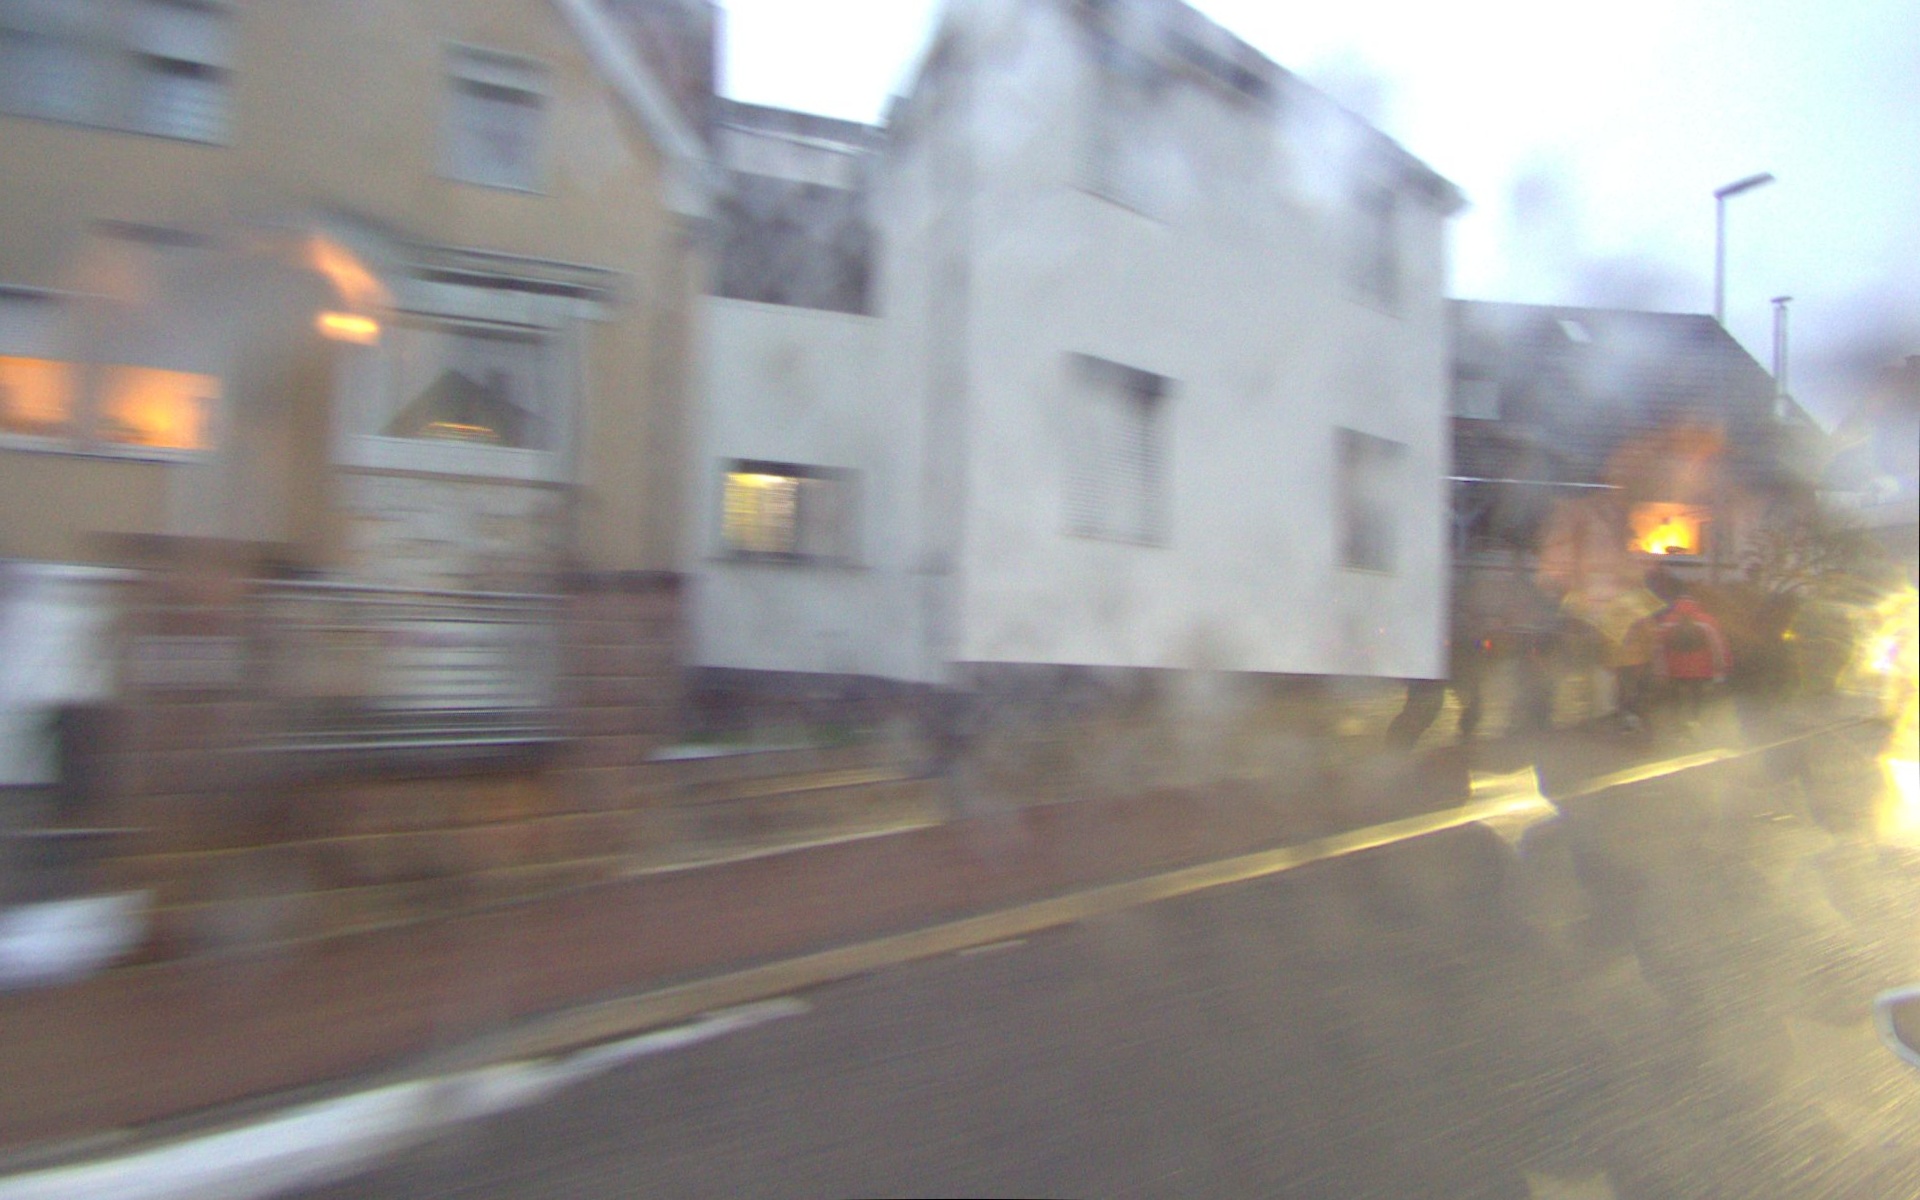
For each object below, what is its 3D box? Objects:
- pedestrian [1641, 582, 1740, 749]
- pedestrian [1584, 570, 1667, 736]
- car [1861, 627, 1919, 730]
[{"bbox_3d":[8.285,0.726,11.391,0.805,1.802,0.701,2,-1,-37],"label":"pedestrian"},{"bbox_3d":[7.911,0.620,11.944,0.805,1.894,0.593,2,-1,-38],"label":"pedestrian"},{"bbox_3d":[15.510,1.162,15.441,4.031,1.460,1.809,1,-1,-38],"label":"car"}]
